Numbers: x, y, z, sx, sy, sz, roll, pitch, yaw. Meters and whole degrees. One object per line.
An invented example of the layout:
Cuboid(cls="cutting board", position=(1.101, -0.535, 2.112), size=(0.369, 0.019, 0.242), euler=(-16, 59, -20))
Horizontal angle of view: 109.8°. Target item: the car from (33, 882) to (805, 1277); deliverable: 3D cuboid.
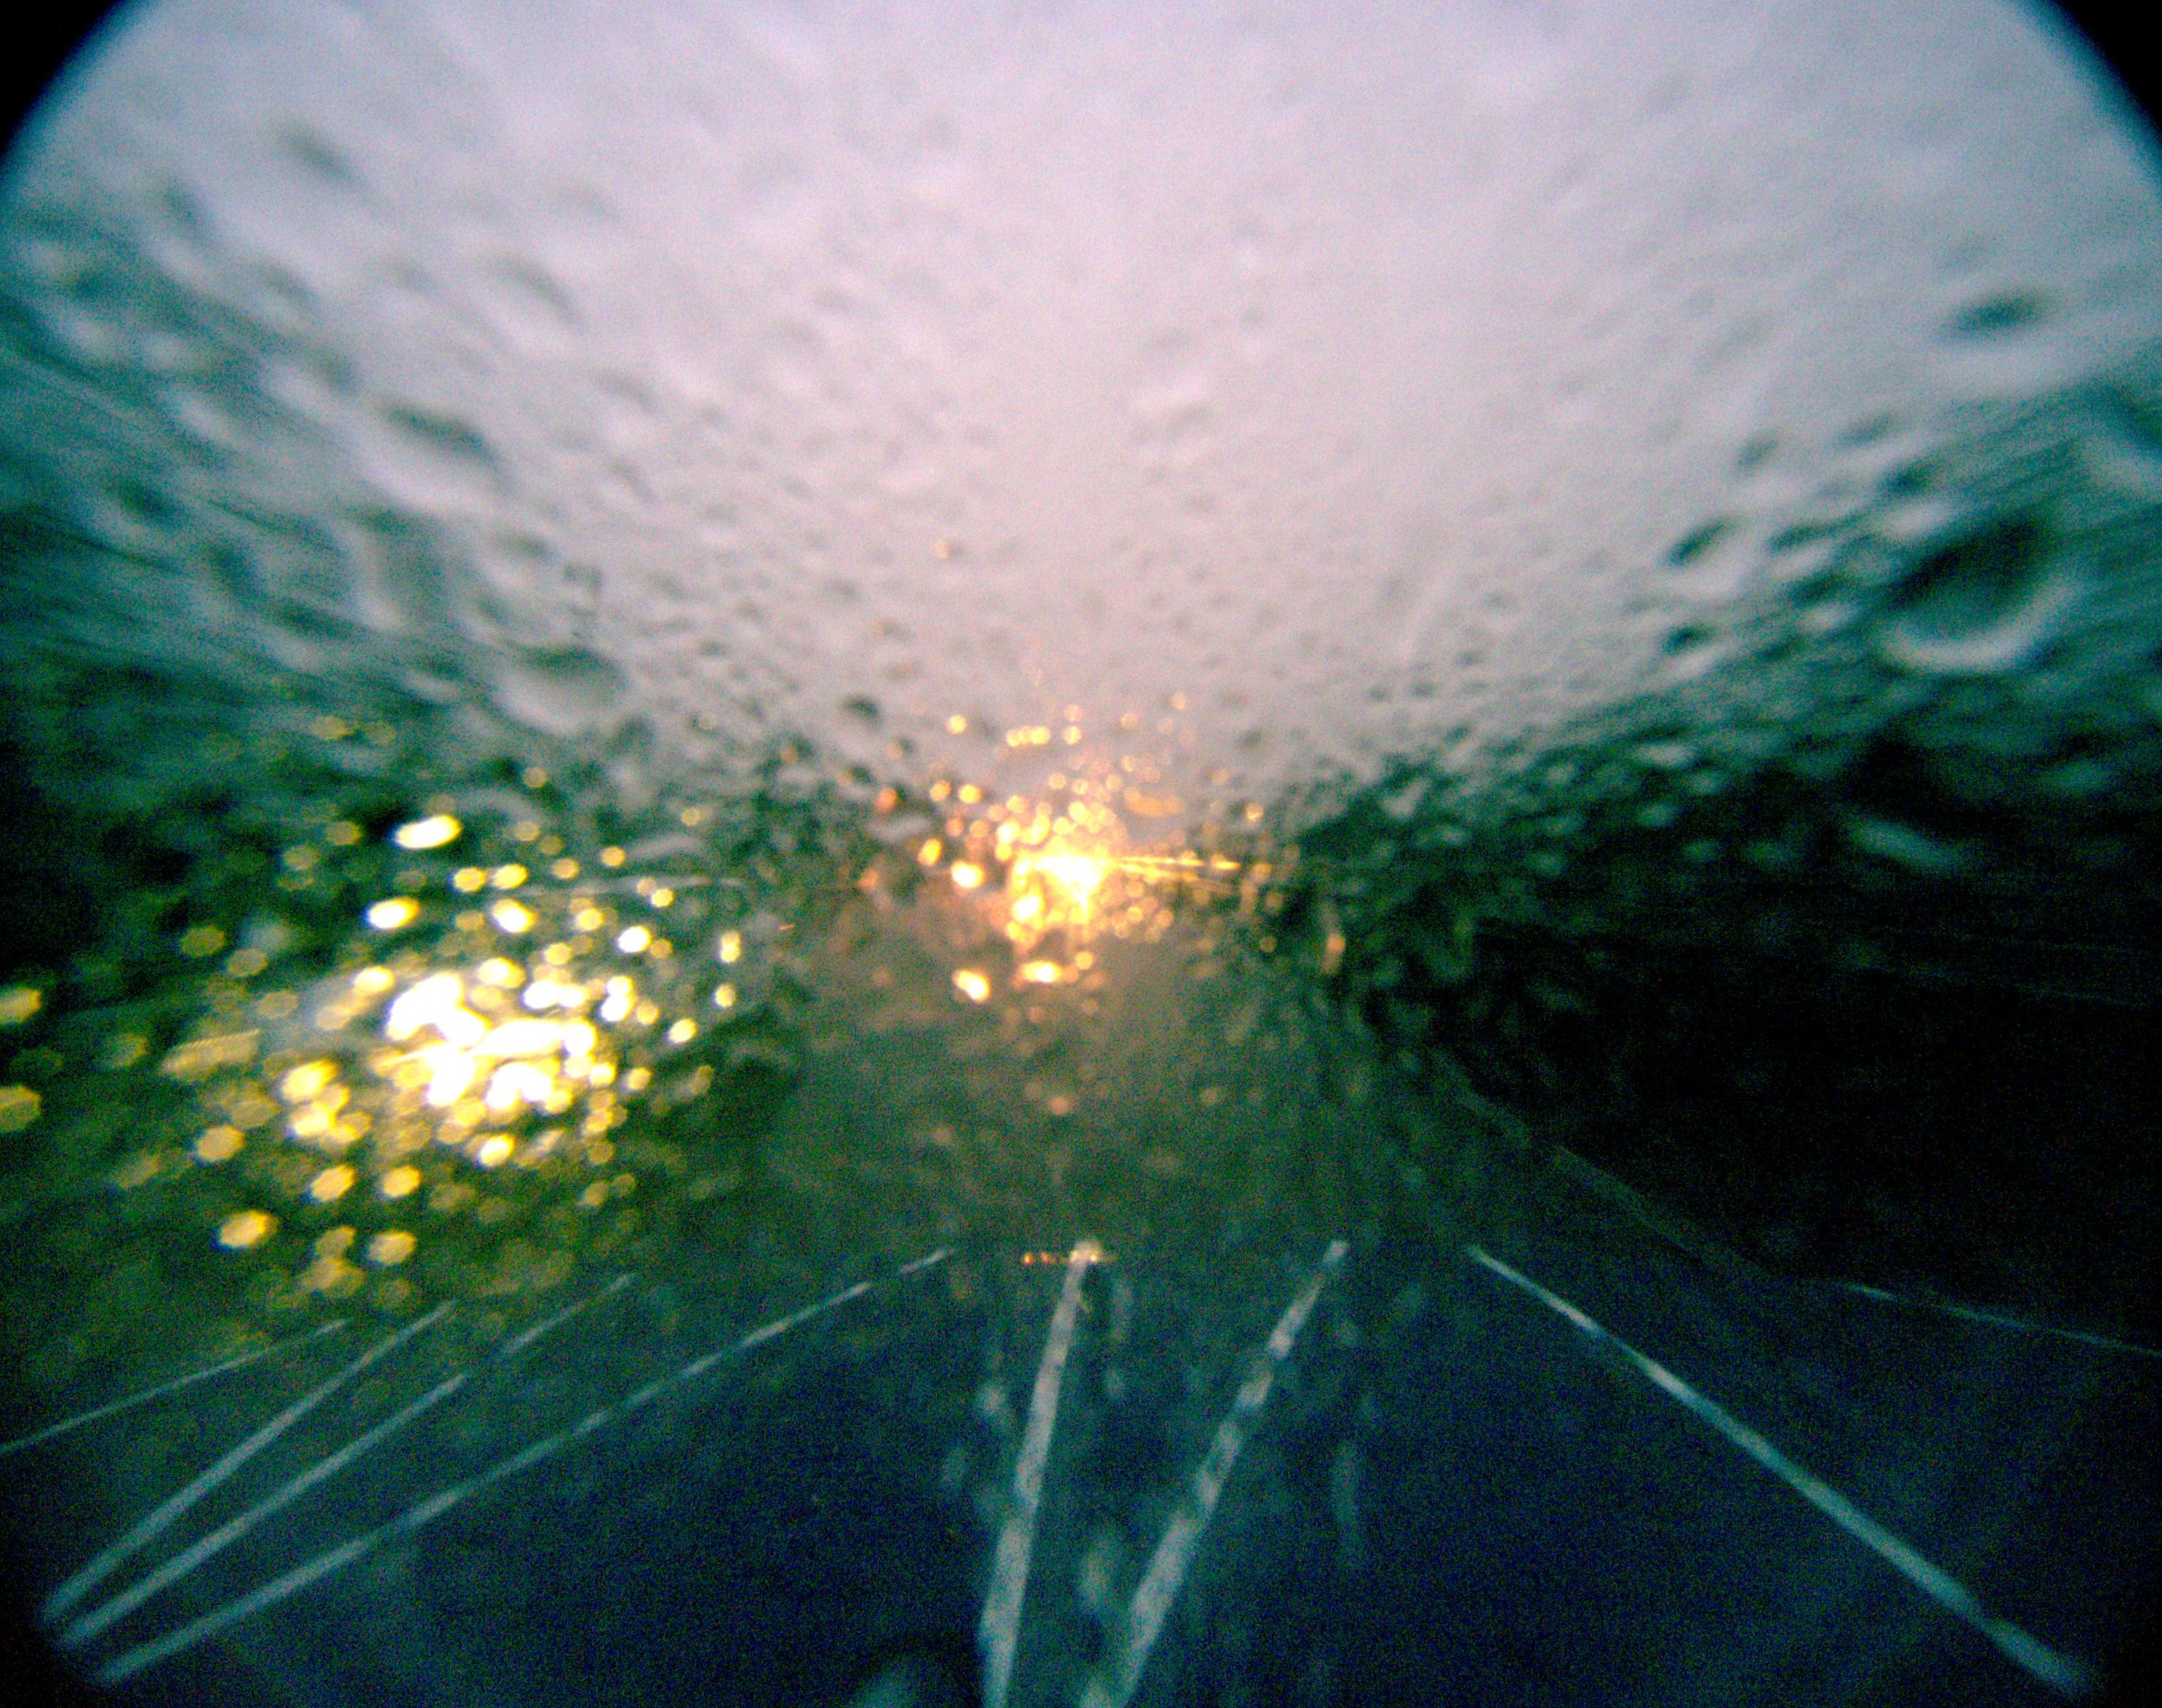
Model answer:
Cuboid(cls="car", position=(-3.600, 1.059, 5.303), size=(1.802, 1.494, 4.000), euler=(-2, 0, 0))

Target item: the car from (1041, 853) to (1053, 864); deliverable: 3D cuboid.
Cuboid(cls="car", position=(-4.800, 0.636, 108.544), size=(1.632, 1.465, 3.999), euler=(-1, 0, -1))

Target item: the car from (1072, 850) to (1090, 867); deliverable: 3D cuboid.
Cuboid(cls="car", position=(-0.024, 0.403, 69.672), size=(1.632, 1.465, 3.999), euler=(-1, 0, -1))

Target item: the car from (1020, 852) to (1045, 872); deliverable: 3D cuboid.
Cuboid(cls="car", position=(-3.564, 0.574, 56.371), size=(1.632, 1.465, 3.999), euler=(-1, 0, -1))
